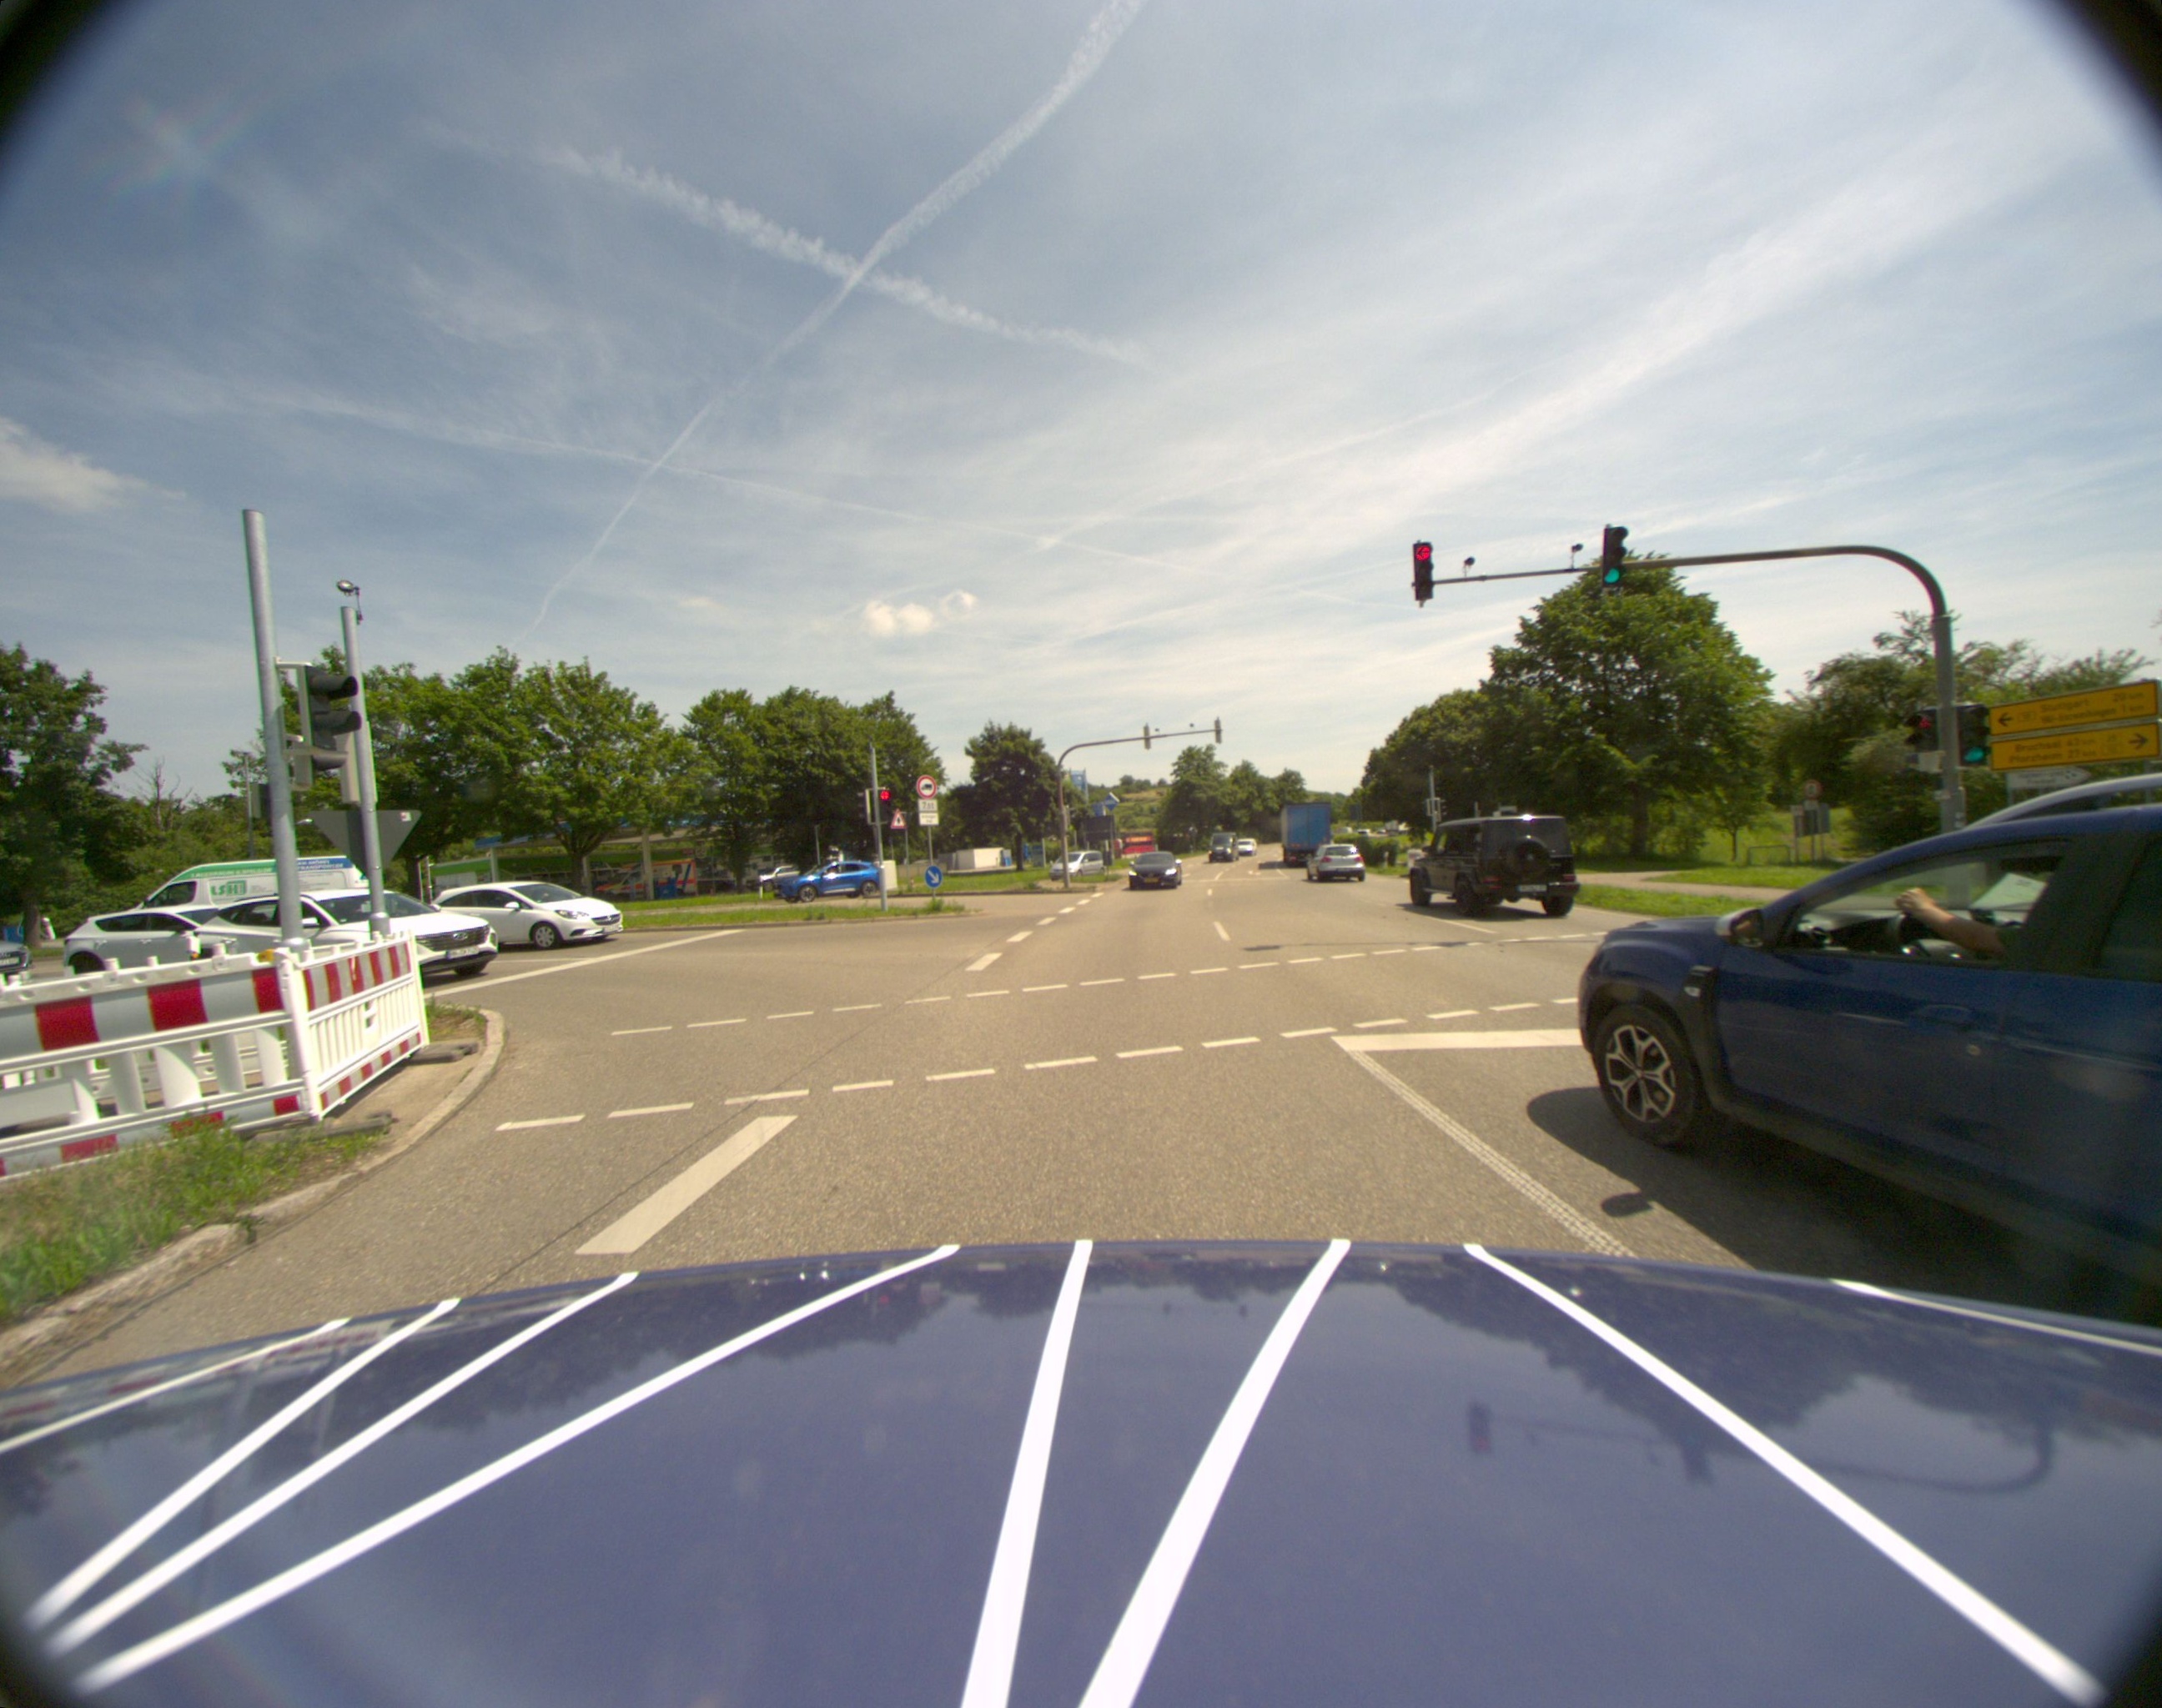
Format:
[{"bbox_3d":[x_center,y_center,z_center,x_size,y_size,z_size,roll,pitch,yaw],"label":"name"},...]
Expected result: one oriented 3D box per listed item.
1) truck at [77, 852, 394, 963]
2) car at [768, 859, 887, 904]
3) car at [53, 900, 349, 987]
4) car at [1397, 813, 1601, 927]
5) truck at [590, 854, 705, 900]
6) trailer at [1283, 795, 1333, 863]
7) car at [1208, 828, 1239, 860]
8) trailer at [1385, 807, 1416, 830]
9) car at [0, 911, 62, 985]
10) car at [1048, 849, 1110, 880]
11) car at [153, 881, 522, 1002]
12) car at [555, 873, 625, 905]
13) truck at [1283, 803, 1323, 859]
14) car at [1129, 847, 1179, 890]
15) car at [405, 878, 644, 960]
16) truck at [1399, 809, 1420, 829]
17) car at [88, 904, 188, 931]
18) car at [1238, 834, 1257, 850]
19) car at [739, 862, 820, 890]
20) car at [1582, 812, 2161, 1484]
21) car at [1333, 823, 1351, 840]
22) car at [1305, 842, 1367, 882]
[{"bbox_3d":[-25.346,1.479,23.205,5.950,2.722,2.068,-3,3,-26],"label":"truck"},{"bbox_3d":[-10.750,1.153,32.450,4.395,1.549,1.780,-4,1,-41],"label":"car"},{"bbox_3d":[-19.079,1.908,16.646,4.104,1.411,1.799,-3,2,-3],"label":"car"},{"bbox_3d":[8.614,0.242,16.321,1.998,1.994,5.166,-2,1,7],"label":"car"},{"bbox_3d":[-29.007,1.494,51.061,2.257,2.603,6.160,-2,1,37],"label":"truck"},{"bbox_3d":[15.349,-1.598,52.112,2.570,4.006,13.607,-2,0,14],"label":"trailer"},{"bbox_3d":[12.336,-0.888,65.628,1.978,2.505,4.161,-2,2,19],"label":"car"},{"bbox_3d":[61.792,-6.850,146.743,2.779,4.079,11.681,1,3,36],"label":"trailer"},{"bbox_3d":[-25.930,2.267,16.493,4.561,1.502,1.799,-4,2,-7],"label":"car"},{"bbox_3d":[-0.045,0.569,45.025,1.862,1.682,4.534,-2,0,25],"label":"car"},{"bbox_3d":[-12.270,1.425,12.685,4.634,1.598,1.999,-3,2,11],"label":"car"},{"bbox_3d":[-36.084,2.563,55.939,1.708,2.002,3.869,-2,2,32],"label":"car"},{"bbox_3d":[17.055,-1.715,58.722,2.570,4.006,6.566,-2,1,14],"label":"truck"},{"bbox_3d":[2.866,0.515,29.655,1.782,1.484,4.158,-2,1,6],"label":"car"},{"bbox_3d":[-12.221,1.403,16.847,3.968,1.411,1.828,-3,2,6],"label":"car"},{"bbox_3d":[65.784,-6.954,152.166,2.779,3.921,5.715,1,3,36],"label":"truck"},{"bbox_3d":[-62.790,4.207,50.669,3.843,1.372,1.725,-4,1,-14],"label":"car"},{"bbox_3d":[17.901,-1.280,81.581,1.781,1.484,4.161,-2,2,16],"label":"car"},{"bbox_3d":[-21.410,1.529,54.179,2.033,1.594,4.948,-1,3,38],"label":"car"},{"bbox_3d":[3.540,0.703,2.059,1.775,1.649,3.999,-2,1,1],"label":"car"},{"bbox_3d":[37.980,-3.272,110.448,2.053,2.438,5.276,-1,1,23],"label":"car"},{"bbox_3d":[10.204,0.271,30.667,1.774,1.487,4.002,-1,1,9],"label":"car"}]
